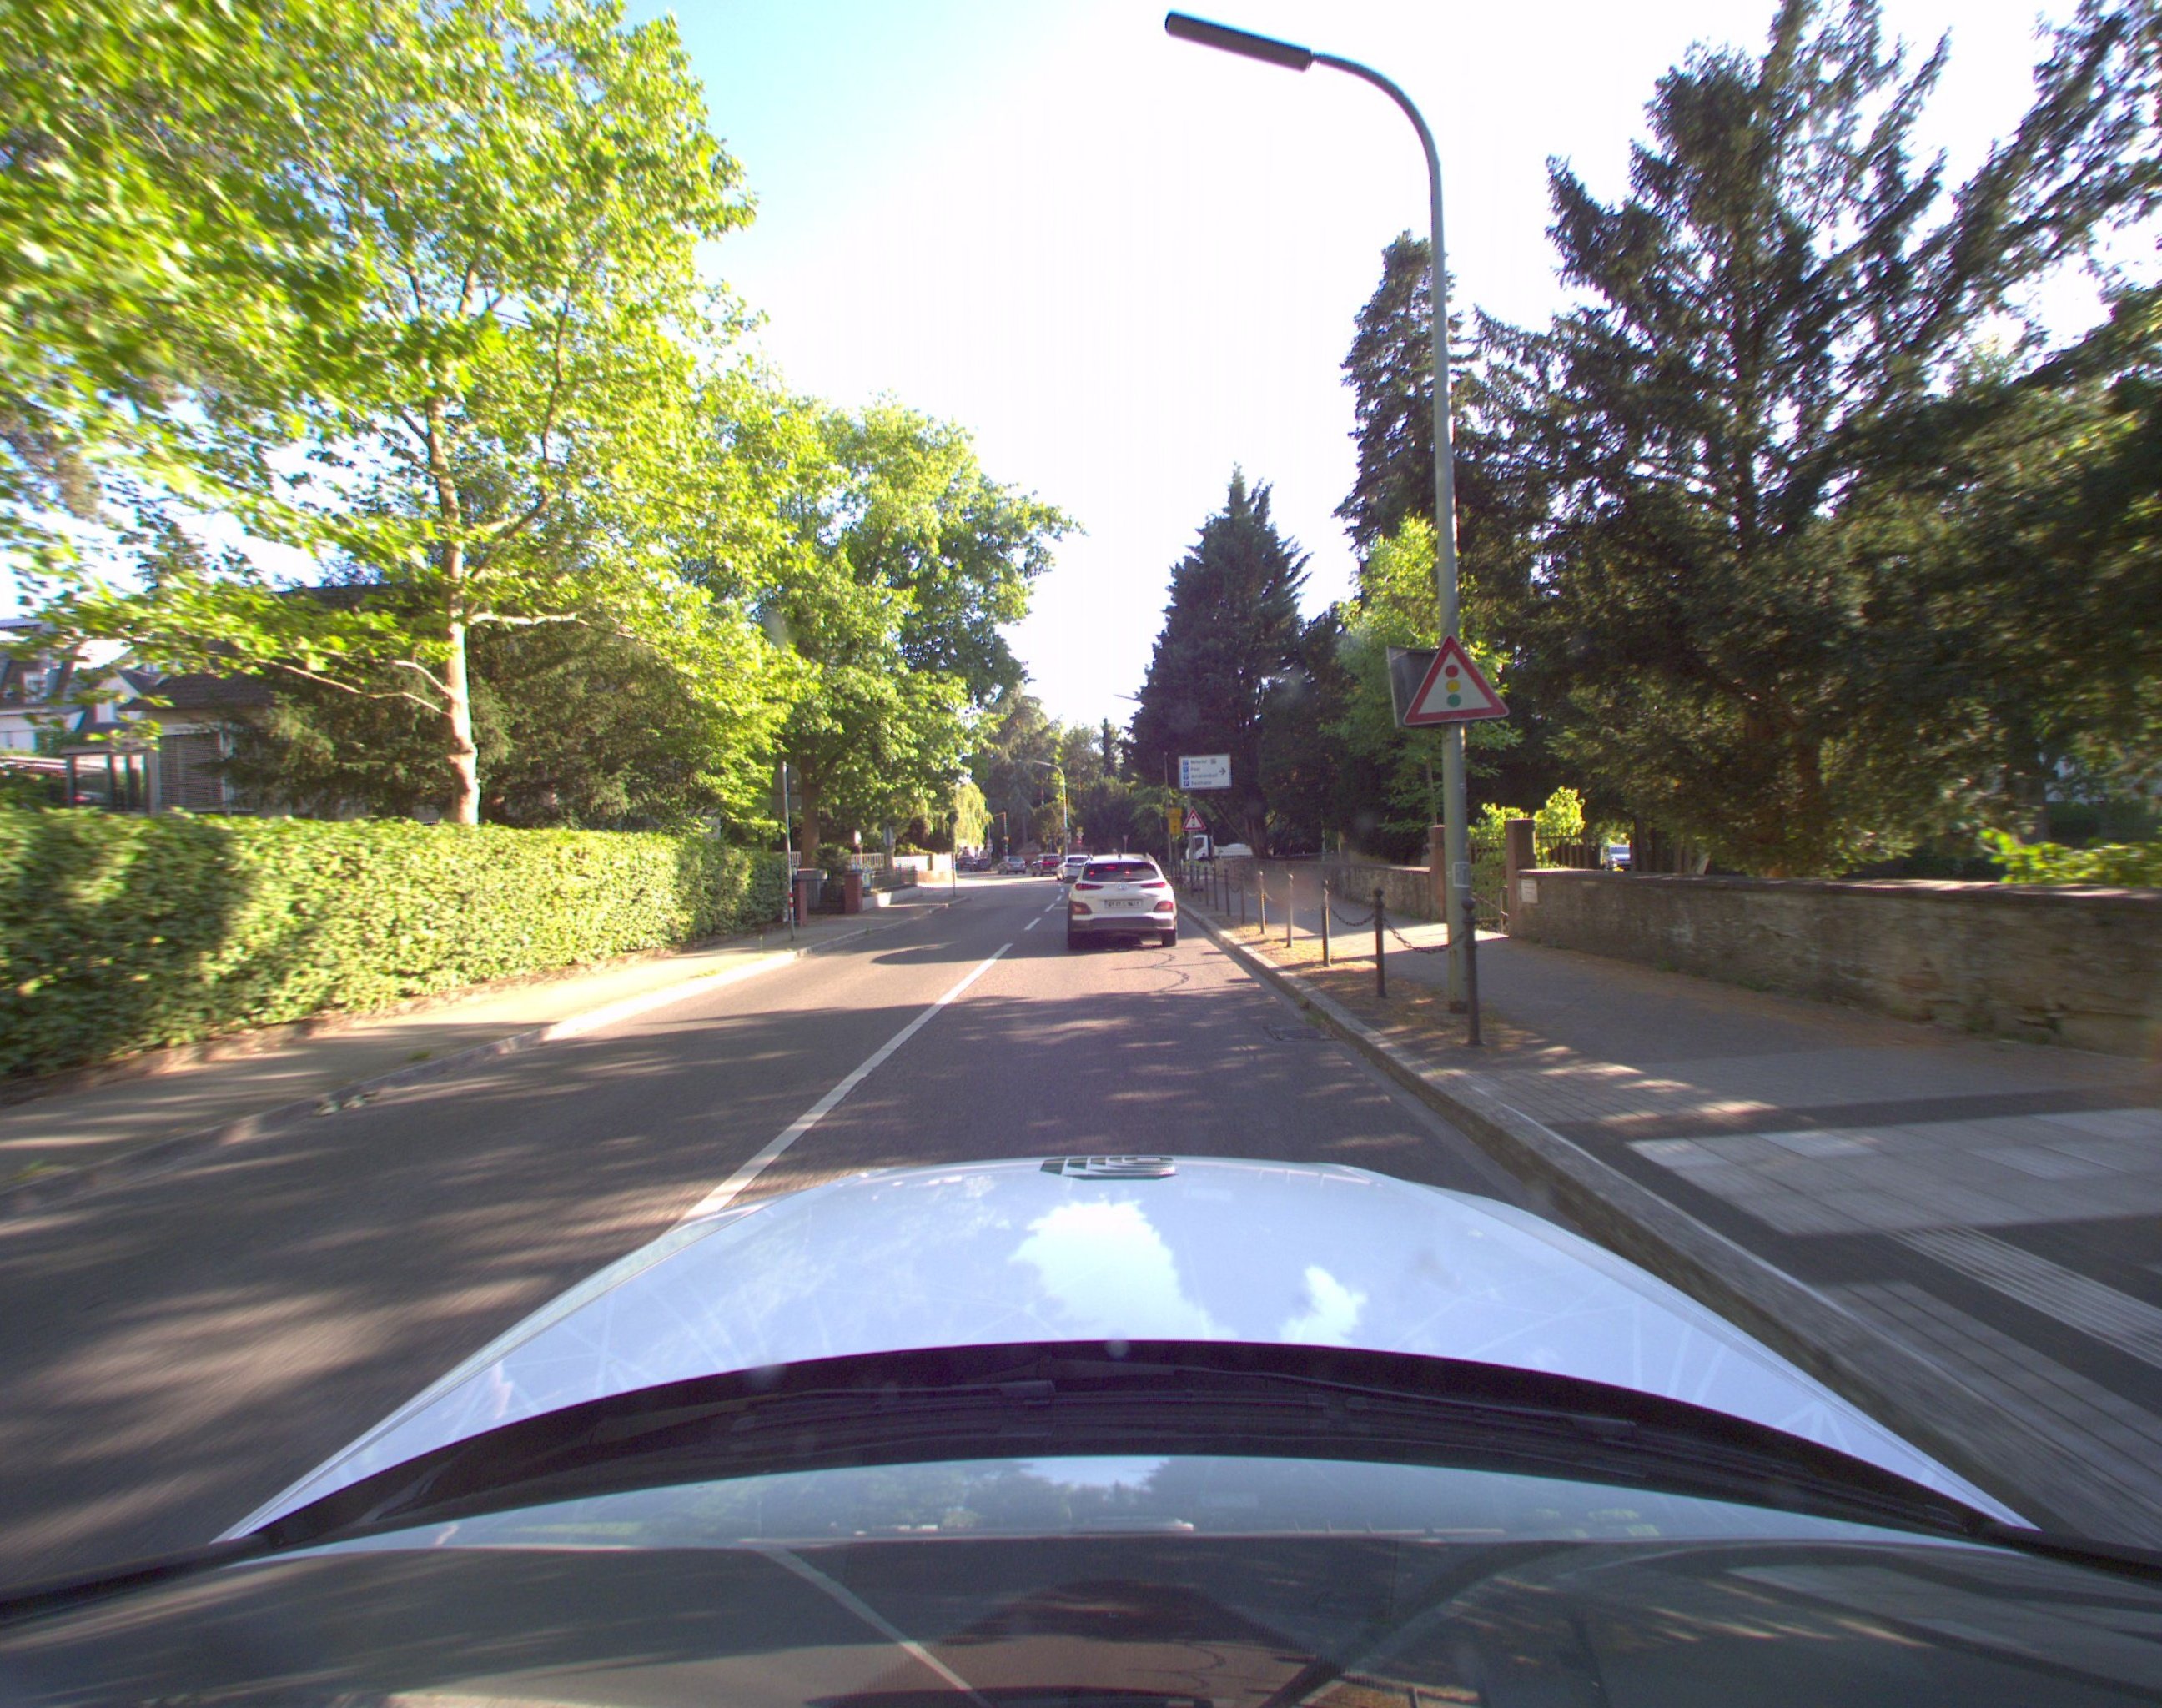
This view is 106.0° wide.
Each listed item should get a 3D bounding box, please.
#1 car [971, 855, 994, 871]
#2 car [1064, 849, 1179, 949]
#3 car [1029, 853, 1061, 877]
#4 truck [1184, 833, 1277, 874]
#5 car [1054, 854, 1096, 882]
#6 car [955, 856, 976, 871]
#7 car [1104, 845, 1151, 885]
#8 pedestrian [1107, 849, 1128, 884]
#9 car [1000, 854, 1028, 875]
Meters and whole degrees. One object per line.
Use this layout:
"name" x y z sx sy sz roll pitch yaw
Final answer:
"car" -10.368 0.909 85.597 1.835 1.662 3.979 0 0 -16
"car" 0.692 0.724 14.951 1.814 1.574 4.001 0 0 1
"car" -2.596 0.752 58.303 1.832 1.662 3.986 0 0 -10
"truck" 10.905 -0.057 59.820 6.553 2.895 2.438 0 0 6
"car" -0.401 0.787 47.840 1.806 1.537 3.985 0 0 -11
"car" -13.812 1.129 97.193 1.836 1.662 3.977 0 0 -17
"car" 1.727 0.398 31.317 1.701 1.434 4.366 0 0 2
"pedestrian" 1.964 0.666 43.730 0.947 1.826 0.548 0 1 -37
"car" -5.889 0.879 71.375 1.834 1.741 3.981 0 0 -14
